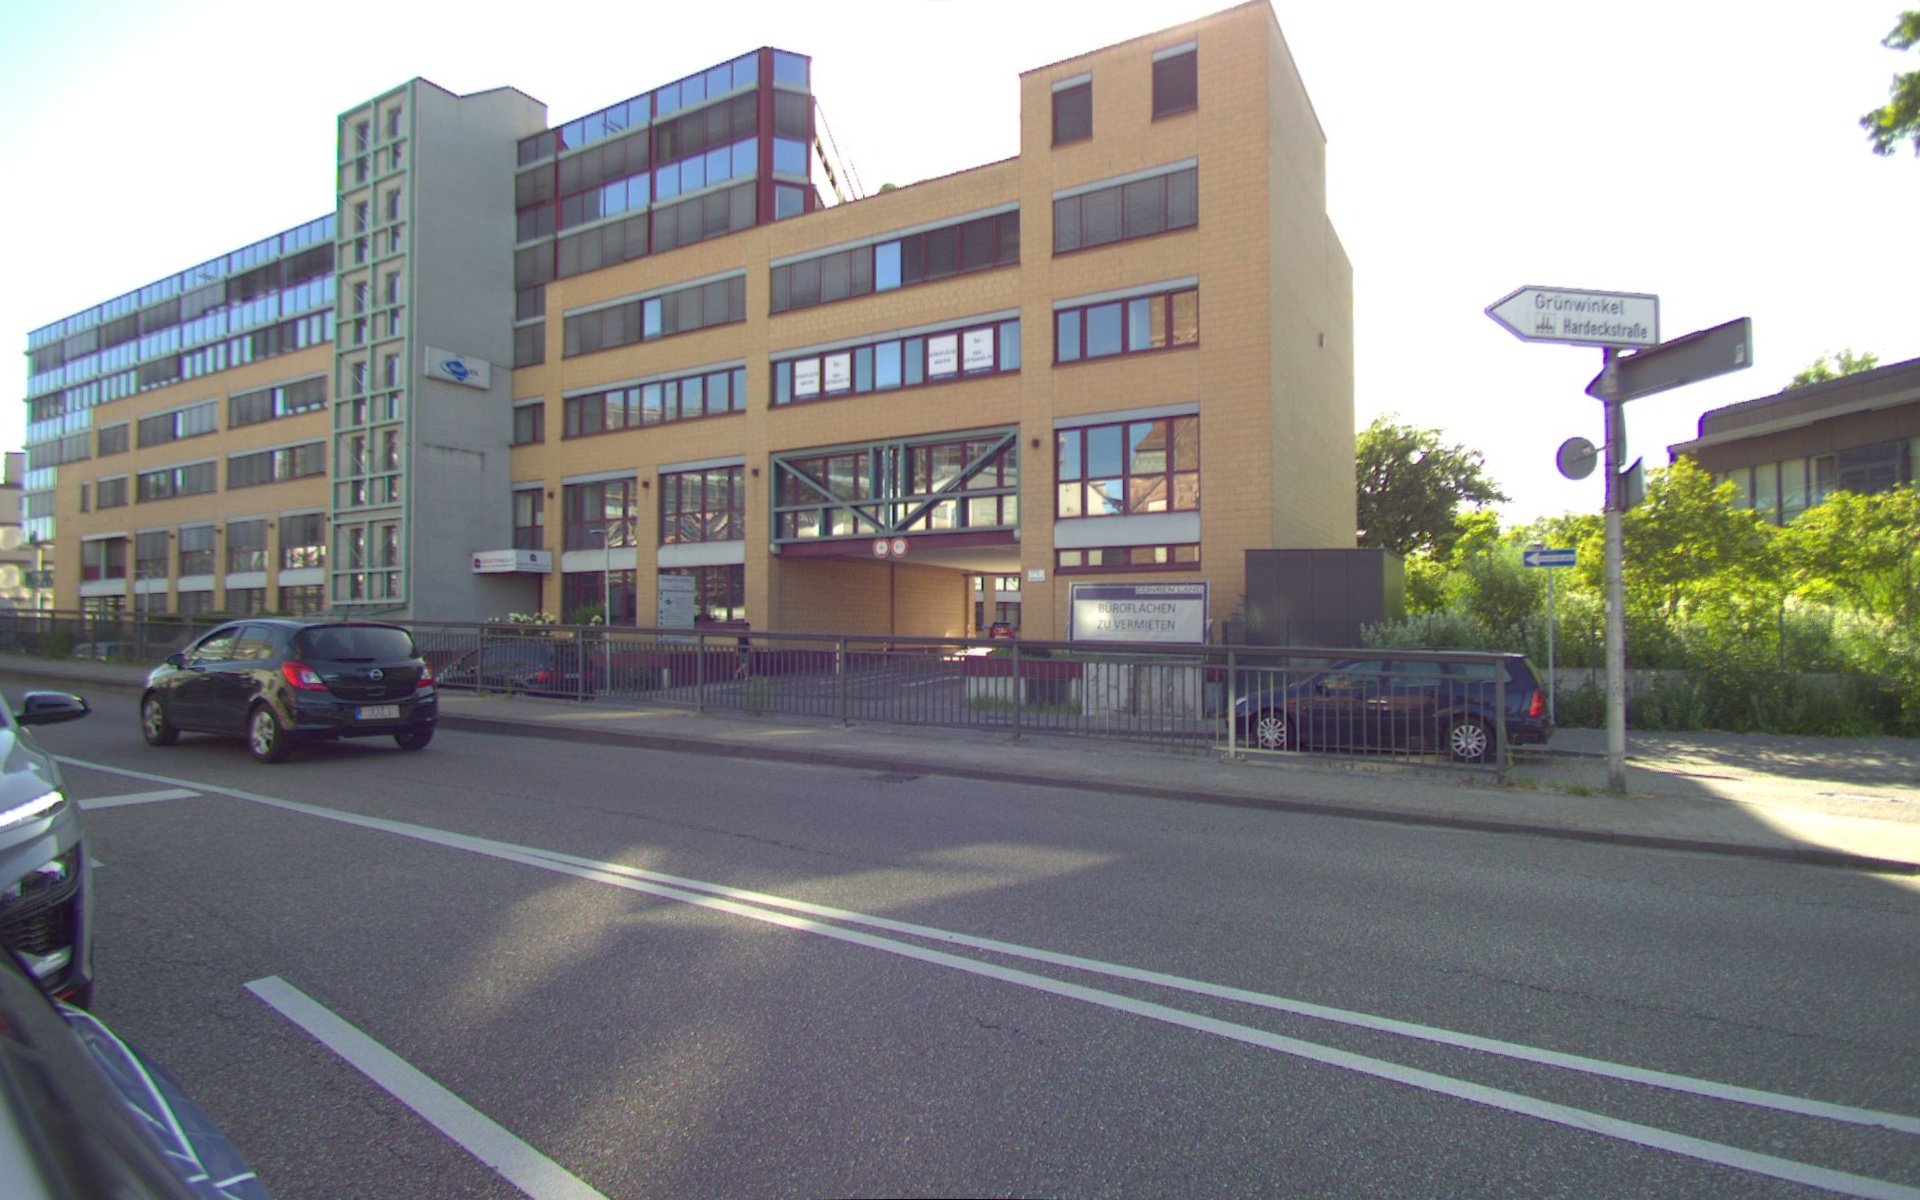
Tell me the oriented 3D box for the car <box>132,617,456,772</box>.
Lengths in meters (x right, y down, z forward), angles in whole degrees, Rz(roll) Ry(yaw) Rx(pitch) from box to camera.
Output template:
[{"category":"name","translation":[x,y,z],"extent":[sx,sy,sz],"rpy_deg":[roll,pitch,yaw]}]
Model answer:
[{"category":"car","translation":[-7.487,0.935,11.295],"extent":[3.809,1.418,1.556],"rpy_deg":[0,-2,32]}]

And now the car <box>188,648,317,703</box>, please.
[{"category":"car","translation":[-22.010,2.310,31.467],"extent":[3.986,1.576,1.865],"rpy_deg":[-2,-3,32]}]

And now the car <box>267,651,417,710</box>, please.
[{"category":"car","translation":[-17.640,2.246,28.847],"extent":[4.143,1.535,1.862],"rpy_deg":[-2,-3,29]}]

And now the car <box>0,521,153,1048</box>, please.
[{"category":"car","translation":[-4.911,0.613,4.151],"extent":[4.196,1.634,1.854],"rpy_deg":[-2,-3,42]}]

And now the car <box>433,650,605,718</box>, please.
[{"category":"car","translation":[-10.867,2.027,24.918],"extent":[4.139,1.535,1.624],"rpy_deg":[-2,-3,27]}]

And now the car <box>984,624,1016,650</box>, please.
[{"category":"car","translation":[2.624,2.448,67.276],"extent":[1.742,1.532,4.003],"rpy_deg":[-1,0,-3]}]

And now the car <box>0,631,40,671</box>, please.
[{"category":"car","translation":[-40.045,2.096,41.897],"extent":[3.988,1.519,1.978],"rpy_deg":[-1,0,33]}]

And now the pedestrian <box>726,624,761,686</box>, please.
[{"category":"pedestrian","translation":[-6.662,1.681,31.140],"extent":[0.703,1.865,0.738],"rpy_deg":[-2,-1,35]}]

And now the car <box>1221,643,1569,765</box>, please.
[{"category":"car","translation":[6.192,1.458,14.631],"extent":[4.367,1.520,1.640],"rpy_deg":[-3,-5,34]}]
